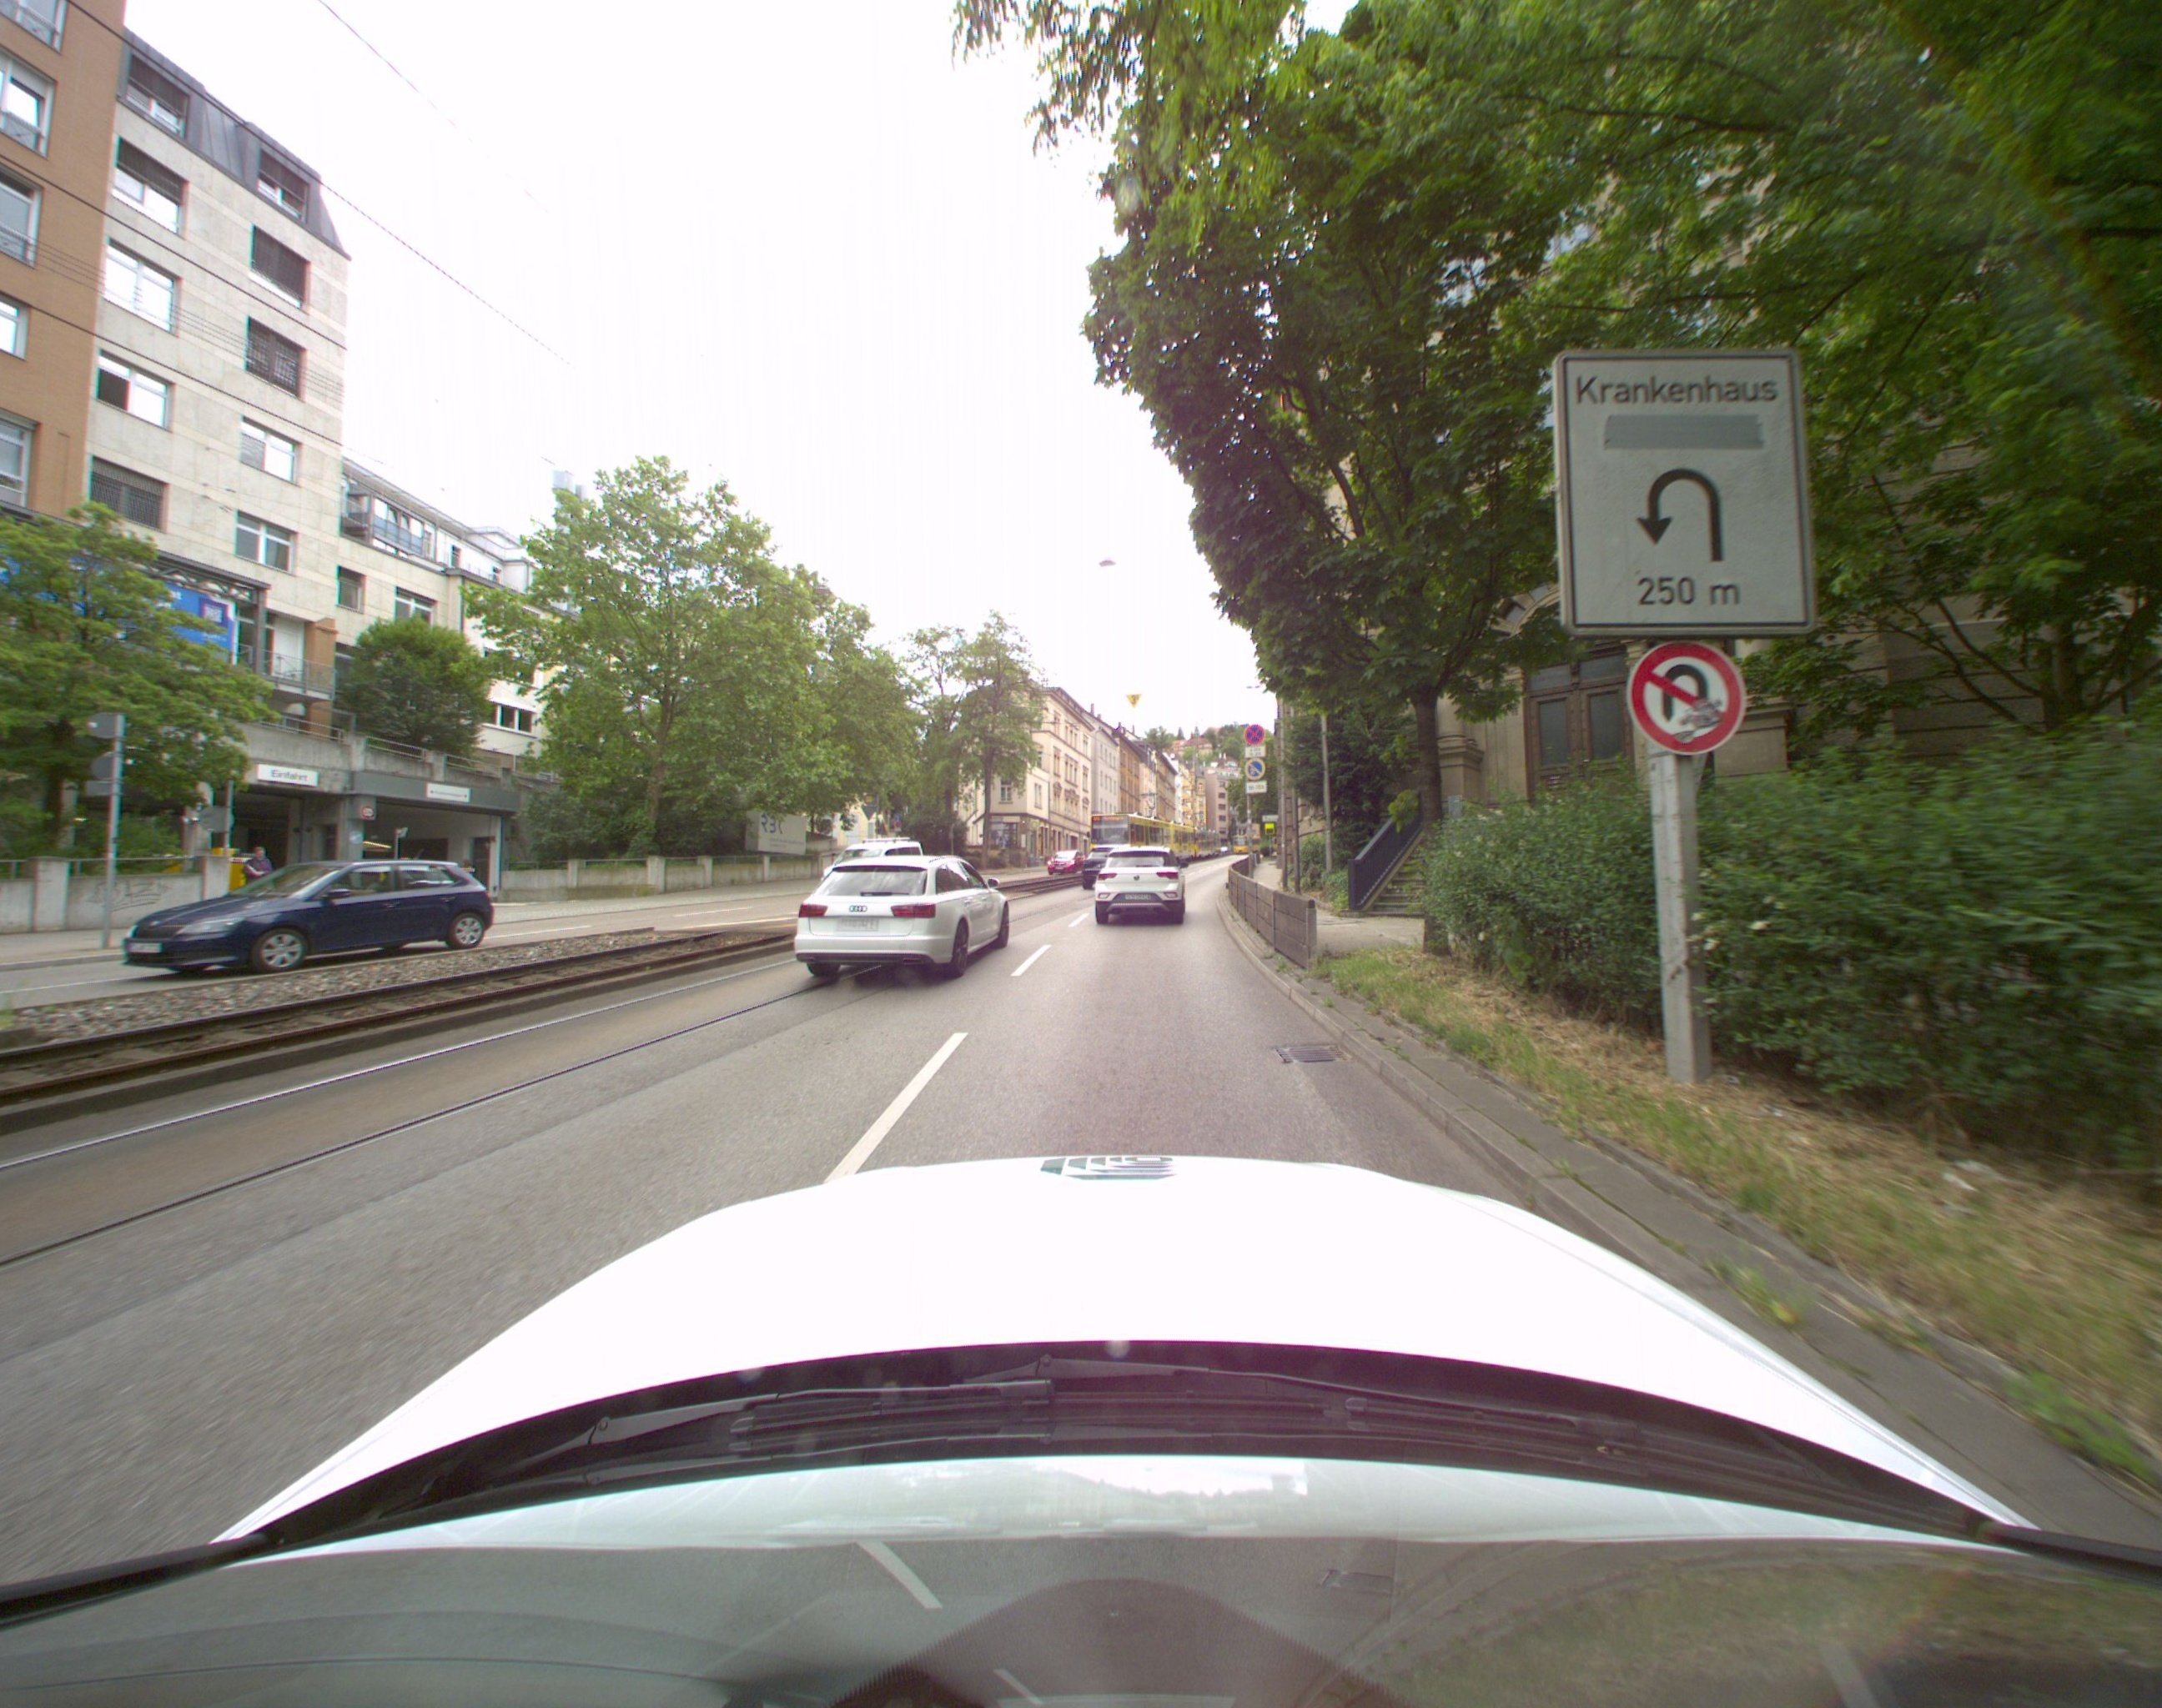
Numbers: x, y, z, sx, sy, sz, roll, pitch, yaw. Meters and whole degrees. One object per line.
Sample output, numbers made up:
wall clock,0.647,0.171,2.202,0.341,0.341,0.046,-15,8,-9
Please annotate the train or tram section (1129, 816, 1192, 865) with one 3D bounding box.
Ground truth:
train or tram section,7.254,-1.118,71.153,2.856,3.725,18.772,0,1,13

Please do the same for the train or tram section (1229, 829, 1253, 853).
train or tram section,30.297,-2.401,153.139,2.994,4.213,18.936,-1,0,15

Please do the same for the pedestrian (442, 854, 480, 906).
pedestrian,-23.550,0.976,30.941,0.806,1.911,0.796,-2,0,14

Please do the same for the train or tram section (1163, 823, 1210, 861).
train or tram section,11.822,-1.221,89.378,2.855,3.725,18.829,0,1,14

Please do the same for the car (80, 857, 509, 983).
car,-10.748,0.797,11.634,1.755,1.407,4.095,-2,0,11

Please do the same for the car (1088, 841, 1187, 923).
car,1.337,0.528,17.676,1.869,1.554,4.008,-1,0,7

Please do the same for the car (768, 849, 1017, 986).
car,-2.227,0.675,11.080,1.869,1.455,4.625,-1,0,6

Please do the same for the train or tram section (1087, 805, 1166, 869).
train or tram section,3.395,-1.043,54.778,2.863,3.725,14.908,0,1,13

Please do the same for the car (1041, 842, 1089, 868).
car,-0.940,0.070,50.215,1.979,1.503,4.015,-1,0,14

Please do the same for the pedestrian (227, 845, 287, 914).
pedestrian,-19.062,0.577,18.848,0.722,1.560,0.660,-2,0,14

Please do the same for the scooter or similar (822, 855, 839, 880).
scooter or similar,-12.558,0.651,40.905,0.489,1.219,1.638,1,-1,-6

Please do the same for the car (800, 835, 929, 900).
car,-6.976,0.365,26.904,1.934,1.946,5.021,-1,1,13

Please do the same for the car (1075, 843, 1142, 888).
car,1.157,0.395,31.474,2.026,1.571,4.369,-1,0,9
